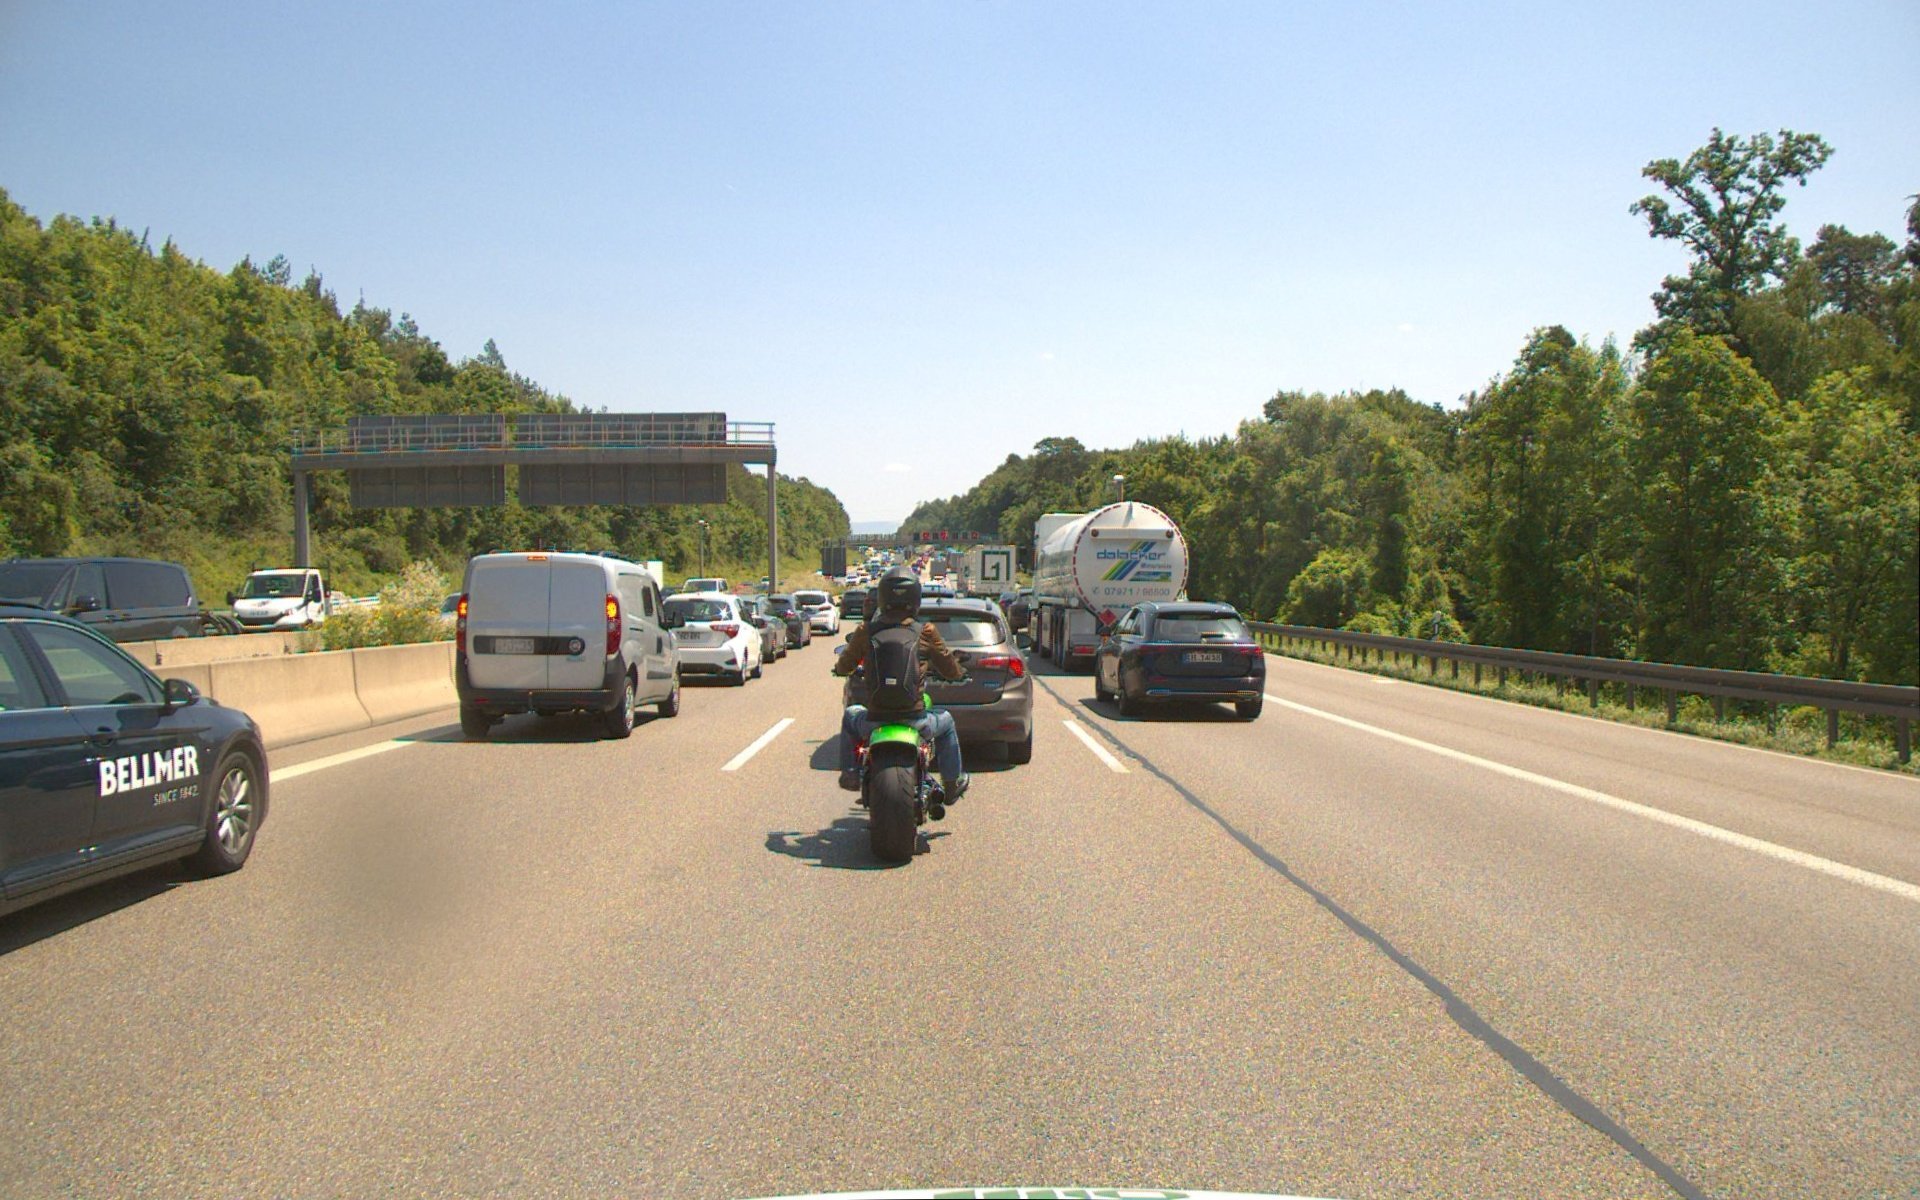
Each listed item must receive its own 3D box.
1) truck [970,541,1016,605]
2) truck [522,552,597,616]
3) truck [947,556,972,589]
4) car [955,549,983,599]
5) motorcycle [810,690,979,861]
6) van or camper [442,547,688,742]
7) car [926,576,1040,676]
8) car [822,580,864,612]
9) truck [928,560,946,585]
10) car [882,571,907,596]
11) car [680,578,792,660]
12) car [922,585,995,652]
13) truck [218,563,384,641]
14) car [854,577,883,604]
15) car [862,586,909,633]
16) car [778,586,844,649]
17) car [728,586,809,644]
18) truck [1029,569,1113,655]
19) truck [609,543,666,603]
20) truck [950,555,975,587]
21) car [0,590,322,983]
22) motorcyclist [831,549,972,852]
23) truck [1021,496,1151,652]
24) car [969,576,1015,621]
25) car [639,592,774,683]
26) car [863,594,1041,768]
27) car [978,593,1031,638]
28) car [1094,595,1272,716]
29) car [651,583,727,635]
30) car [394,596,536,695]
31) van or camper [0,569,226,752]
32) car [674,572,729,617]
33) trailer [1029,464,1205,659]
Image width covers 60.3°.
[{"bbox_3d":[2.177,-1.660,106.737,2.794,3.888,7.189,1,-1,2],"label":"truck"},{"bbox_3d":[-19.423,-0.706,80.526,2.133,2.935,6.740,1,-1,-1],"label":"truck"},{"bbox_3d":[-0.004,-1.850,113.841,1.558,2.148,3.752,1,-1,2],"label":"truck"},{"bbox_3d":[0.724,-2.111,140.036,2.123,3.961,9.327,1,-1,-1],"label":"car"},{"bbox_3d":[-0.376,1.029,10.230,0.917,0.807,2.298,1,0,-1],"label":"motorcycle"},{"bbox_3d":[-4.294,0.418,18.713,1.816,1.913,4.560,1,1,-2],"label":"van or camper"},{"bbox_3d":[0.367,0.486,31.061,1.953,1.741,3.998,1,-1,-2],"label":"car"},{"bbox_3d":[-5.571,-0.160,78.871,1.728,1.467,3.999,1,-1,0],"label":"car"},{"bbox_3d":[-3.377,-4.020,242.622,2.641,3.465,10.476,0,0,-1],"label":"truck"},{"bbox_3d":[-5.449,-1.382,138.259,1.953,2.049,3.999,0,0,-1],"label":"car"},{"bbox_3d":[-4.929,0.427,37.023,1.953,1.713,4.329,1,-1,-1],"label":"car"},{"bbox_3d":[-0.078,0.519,47.234,1.953,1.806,3.998,1,-1,-2],"label":"car"},{"bbox_3d":[-18.719,0.103,47.402,2.304,2.049,6.489,1,-1,-2],"label":"truck"},{"bbox_3d":[-5.727,-0.591,104.046,1.627,1.627,3.999,0,0,0],"label":"car"},{"bbox_3d":[-3.353,0.437,75.112,1.953,2.049,3.999,1,-1,-1],"label":"car"},{"bbox_3d":[-5.055,0.604,56.606,1.953,2.049,3.999,1,-1,-1],"label":"car"},{"bbox_3d":[-5.173,0.415,45.207,1.954,1.490,3.997,1,-1,-4],"label":"car"},{"bbox_3d":[4.082,0.415,62.410,2.340,3.031,8.249,0,0,-2],"label":"truck"},{"bbox_3d":[-23.143,-1.864,119.032,2.637,4.059,7.988,1,-1,-1],"label":"truck"},{"bbox_3d":[0.270,-3.229,188.122,2.641,3.465,10.476,0,0,-1],"label":"truck"},{"bbox_3d":[-4.522,0.693,7.034,1.836,1.475,4.677,1,0,-1],"label":"car"},{"bbox_3d":[-0.342,0.581,9.939,0.782,1.717,1.016,1,-1,-1],"label":"motorcyclist"},{"bbox_3d":[3.174,-0.595,43.290,2.770,3.735,6.428,1,-1,-1],"label":"truck"},{"bbox_3d":[1.497,-0.040,79.495,1.953,2.049,3.998,1,-1,-2],"label":"car"},{"bbox_3d":[-4.274,0.627,28.472,1.740,1.435,3.999,1,-1,-1],"label":"car"},{"bbox_3d":[-0.092,0.689,16.199,1.509,1.475,3.999,1,0,-1],"label":"car"},{"bbox_3d":[1.566,0.558,59.355,1.740,1.554,3.999,1,-1,-1],"label":"car"},{"bbox_3d":[2.961,0.723,22.853,1.755,1.484,4.623,1,-1,-1],"label":"car"},{"bbox_3d":[-8.333,0.259,51.166,1.788,1.521,3.999,0,0,-2],"label":"car"},{"bbox_3d":[-10.928,0.981,36.809,1.953,2.049,3.999,1,-1,0],"label":"car"},{"bbox_3d":[-11.498,0.703,21.098,1.952,2.049,4.928,1,-1,1],"label":"van or camper"},{"bbox_3d":[-12.350,-0.222,79.125,1.953,2.049,4.000,1,-1,0],"label":"car"},{"bbox_3d":[3.265,-0.679,37.392,2.770,3.735,10.729,1,-1,-1],"label":"trailer"}]
